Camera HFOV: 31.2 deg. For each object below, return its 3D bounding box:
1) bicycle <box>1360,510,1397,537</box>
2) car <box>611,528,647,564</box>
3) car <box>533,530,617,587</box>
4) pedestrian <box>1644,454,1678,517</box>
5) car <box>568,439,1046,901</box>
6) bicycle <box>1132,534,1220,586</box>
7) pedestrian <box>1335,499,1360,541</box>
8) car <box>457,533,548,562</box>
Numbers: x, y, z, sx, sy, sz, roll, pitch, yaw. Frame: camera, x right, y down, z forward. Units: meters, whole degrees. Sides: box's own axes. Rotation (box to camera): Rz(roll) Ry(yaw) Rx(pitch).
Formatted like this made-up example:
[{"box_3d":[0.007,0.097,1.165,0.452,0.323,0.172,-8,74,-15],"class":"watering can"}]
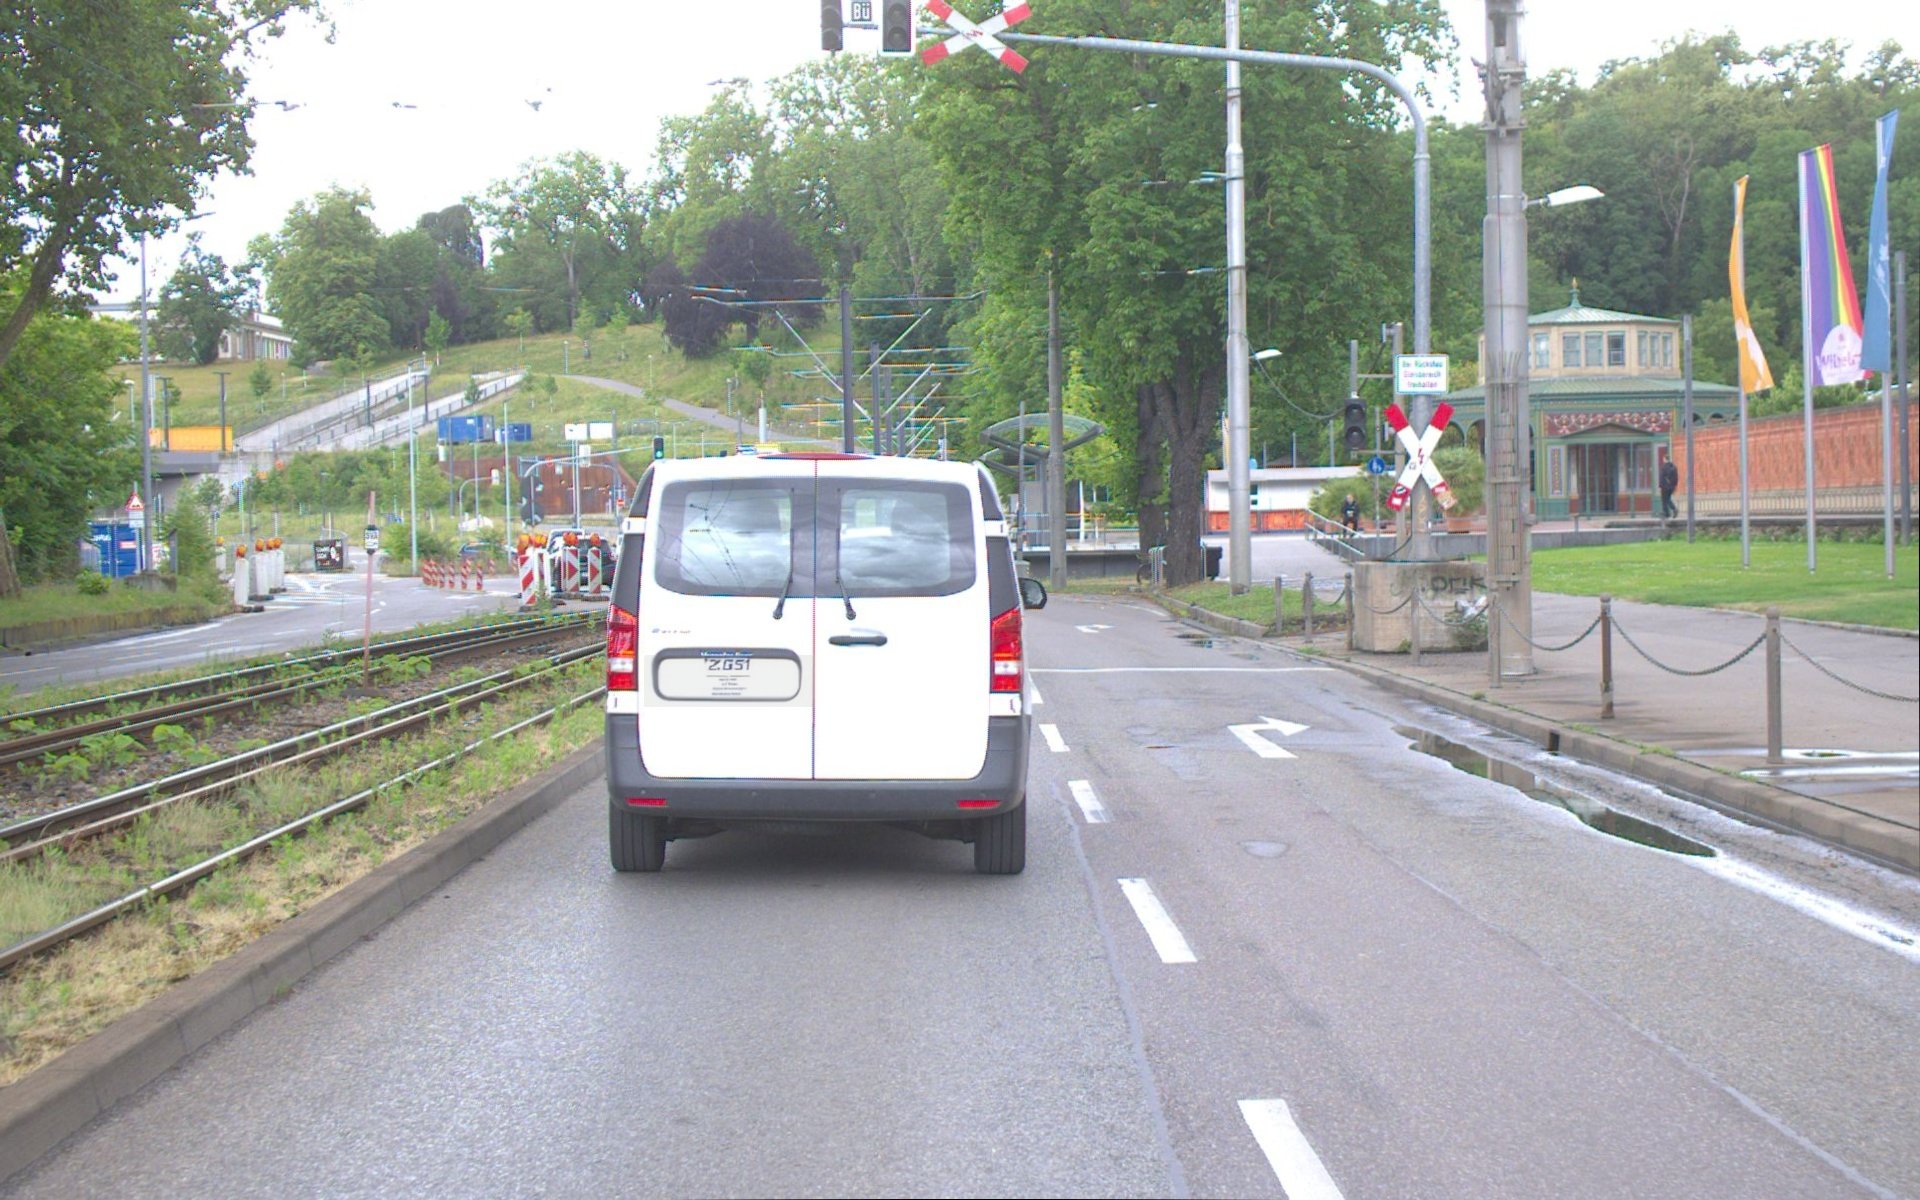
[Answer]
[{"box_3d":[16.761,-3.067,137.745,0.562,1.057,1.716,1,1,-30],"class":"bicycle"},{"box_3d":[-19.046,-3.098,197.846,1.934,2.007,4.001,1,1,-4],"class":"car"},{"box_3d":[-10.304,-1.112,91.879,1.838,1.462,4.063,0,1,-12],"class":"car"},{"box_3d":[20.669,-3.363,101.358,0.949,1.831,0.549,1,0,12],"class":"pedestrian"},{"box_3d":[-0.656,0.262,16.392,1.959,1.897,4.462,0,1,-1],"class":"car"},{"box_3d":[4.999,-0.929,79.519,1.991,1.154,0.741,-1,1,5],"class":"bicycle"},{"box_3d":[11.155,-2.308,98.935,0.548,1.197,0.669,1,0,-6],"class":"pedestrian"},{"box_3d":[-26.014,-2.997,195.665,4.711,1.472,1.999,-2,2,11],"class":"car"}]
